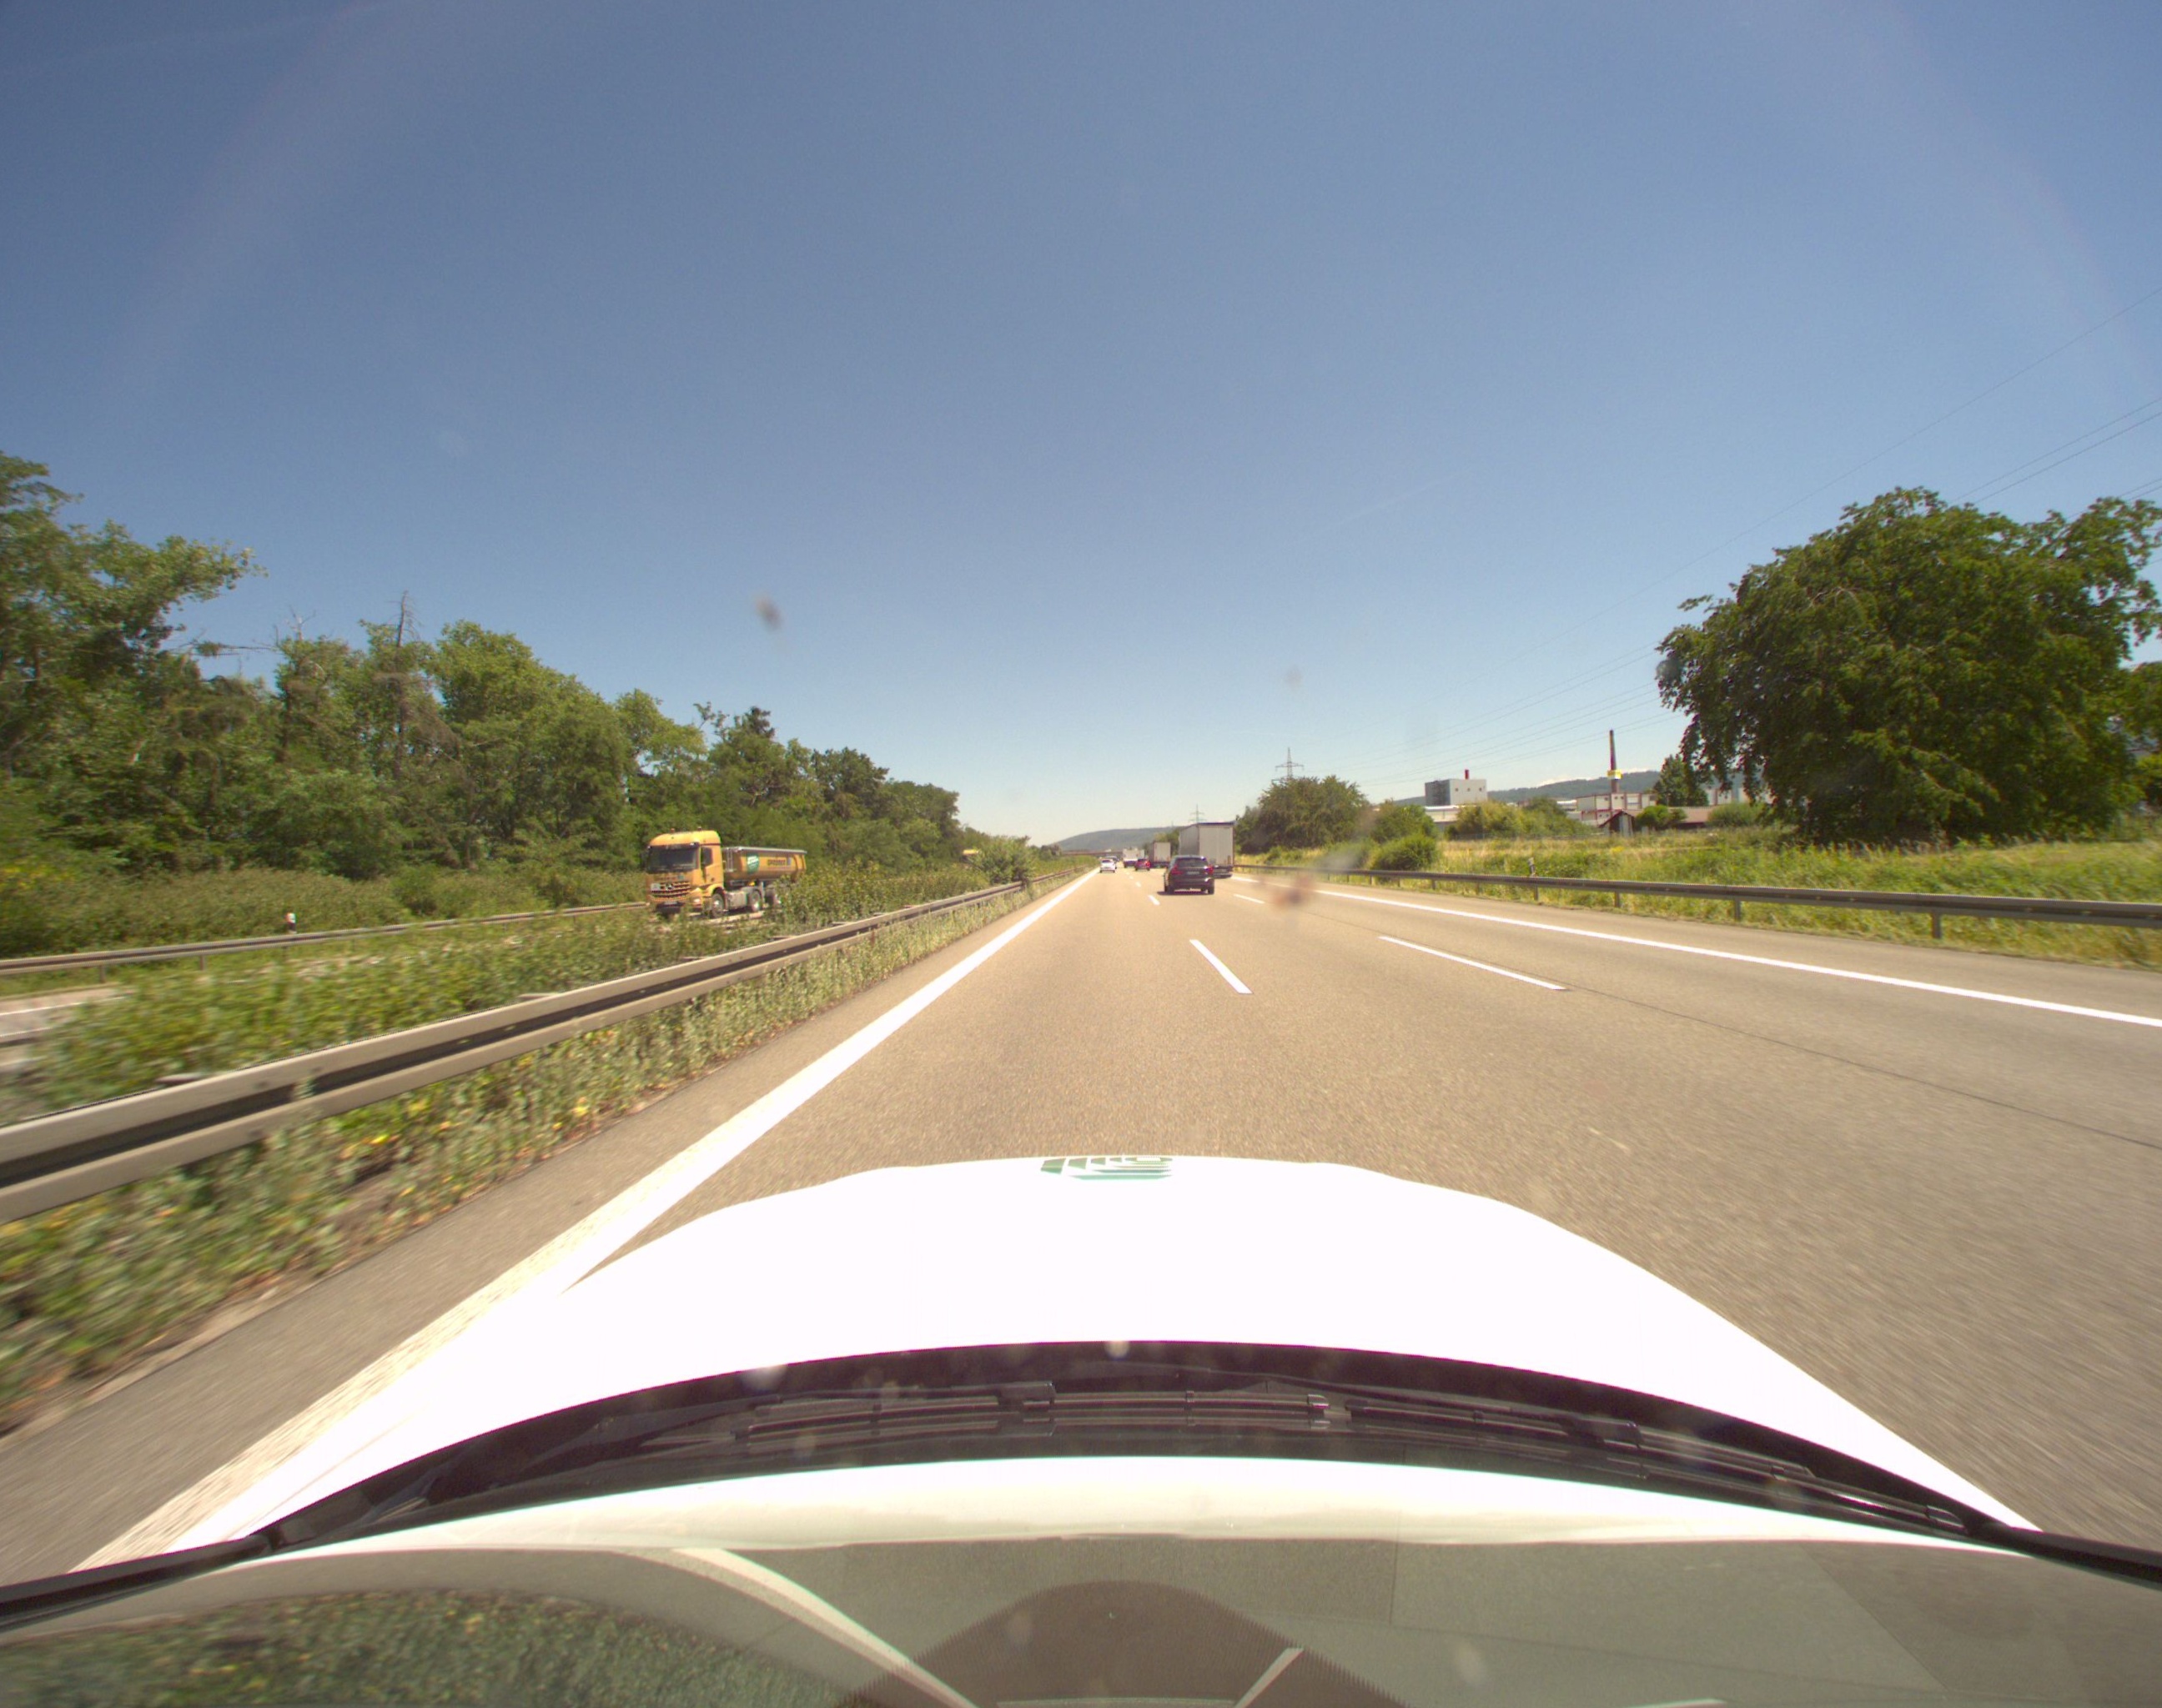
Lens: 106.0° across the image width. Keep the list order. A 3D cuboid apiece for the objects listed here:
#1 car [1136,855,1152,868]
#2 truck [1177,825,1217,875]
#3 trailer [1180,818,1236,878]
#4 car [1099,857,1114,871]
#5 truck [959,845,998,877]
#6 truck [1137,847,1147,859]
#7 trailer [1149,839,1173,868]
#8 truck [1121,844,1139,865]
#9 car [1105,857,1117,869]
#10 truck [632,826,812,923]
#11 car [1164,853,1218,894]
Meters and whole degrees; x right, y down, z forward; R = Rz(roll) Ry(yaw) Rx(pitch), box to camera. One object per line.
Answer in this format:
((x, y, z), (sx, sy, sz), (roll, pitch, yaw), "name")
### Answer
((7.708, 0.869, 100.463), (1.796, 1.545, 4.002), (-1, -1, 2), "car")
((9.961, -0.311, 70.519), (2.725, 4.120, 6.127), (-1, -1, 2), "truck")
((9.672, -0.358, 63.371), (2.725, 4.106, 13.128), (-1, 0, 2), "trailer")
((2.857, 1.123, 90.516), (1.601, 1.468, 4.001), (-2, 0, 2), "car")
((-13.036, 0.862, 104.558), (2.888, 3.706, 11.904), (-4, 0, 2), "truck")
((16.041, -0.222, 214.773), (2.212, 3.209, 10.390), (-2, 0, 2), "truck")
((12.396, -0.072, 127.387), (2.777, 4.164, 13.583), (-2, -1, 3), "trailer")
((8.056, 0.139, 135.841), (2.771, 3.373, 8.131), (-1, -1, 2), "truck")
((4.509, 1.342, 122.379), (1.754, 1.850, 4.001), (-2, 0, 1), "car")
((-16.045, 0.850, 37.899), (2.529, 3.634, 11.850), (-4, -1, 2), "truck")
((4.628, 0.798, 34.826), (1.866, 1.623, 4.005), (-1, 0, 2), "car")
